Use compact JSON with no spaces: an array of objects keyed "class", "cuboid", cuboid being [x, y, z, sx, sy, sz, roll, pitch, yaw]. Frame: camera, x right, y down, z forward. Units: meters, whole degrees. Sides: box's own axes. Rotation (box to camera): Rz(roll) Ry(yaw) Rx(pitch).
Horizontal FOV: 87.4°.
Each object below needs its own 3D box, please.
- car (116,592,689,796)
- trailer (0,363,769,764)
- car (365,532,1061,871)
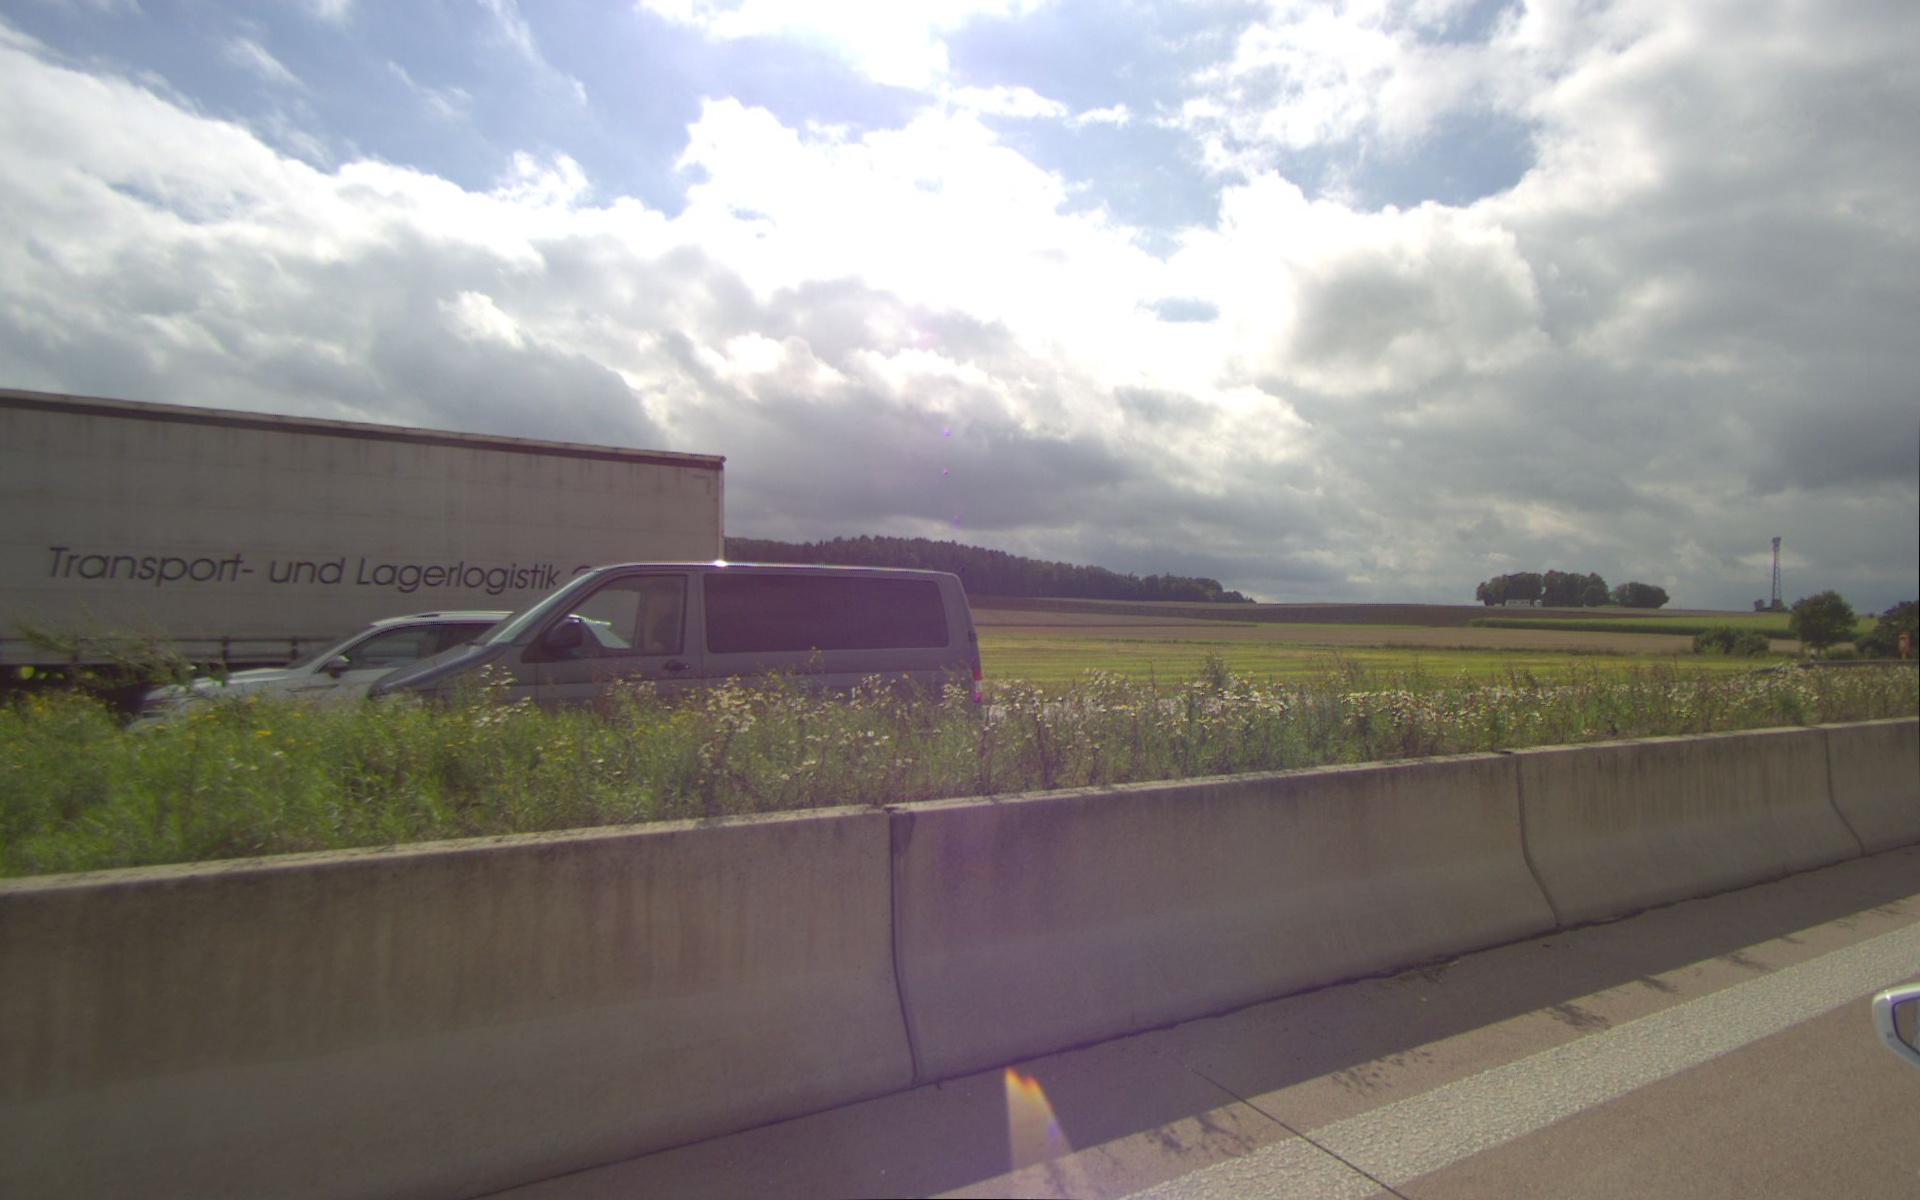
[{"class":"car","cuboid":[-5.434,0.874,10.400,4.730,1.679,1.984,2,-3,-31]},{"class":"trailer","cuboid":[-9.244,-0.372,12.624,13.095,4.153,3.194,1,1,-29]},{"class":"car","cuboid":[-1.835,0.707,8.249,5.186,2.040,1.984,2,-3,-31]}]
